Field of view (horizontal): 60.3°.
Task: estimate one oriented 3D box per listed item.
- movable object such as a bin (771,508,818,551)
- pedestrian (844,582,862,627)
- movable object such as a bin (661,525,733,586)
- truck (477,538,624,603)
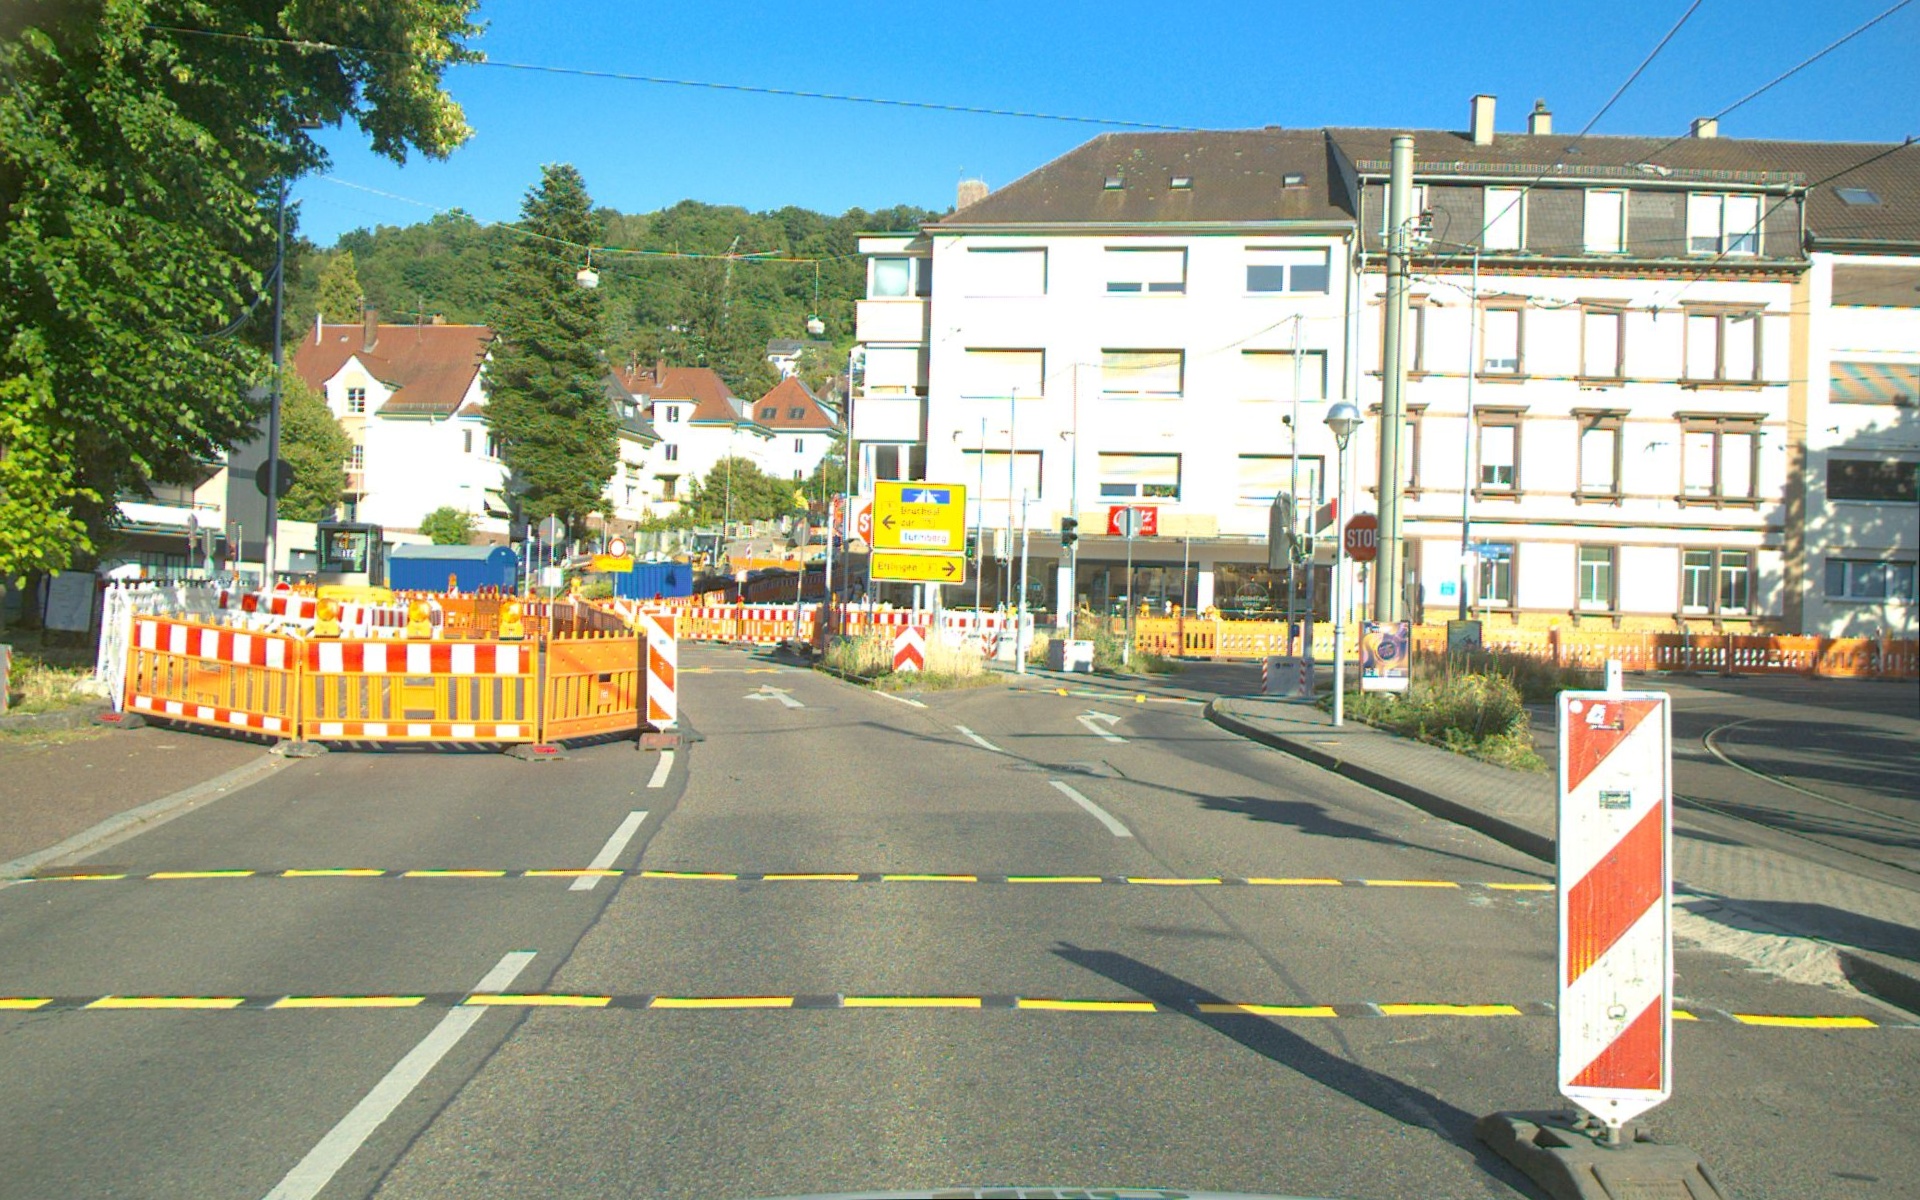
[{"bbox_3d":[-11.327,-4.829,113.630,2.144,2.737,4.003,1,0,9],"label":"movable object such as a bin"},{"bbox_3d":[-4.331,0.180,67.033,0.627,1.791,0.718,1,0,-1],"label":"pedestrian"},{"bbox_3d":[-12.526,-2.113,79.071,2.144,2.737,4.003,1,0,9],"label":"movable object such as a bin"},{"bbox_3d":[-16.745,-1.140,68.395,2.306,2.458,9.159,1,0,10],"label":"truck"}]
